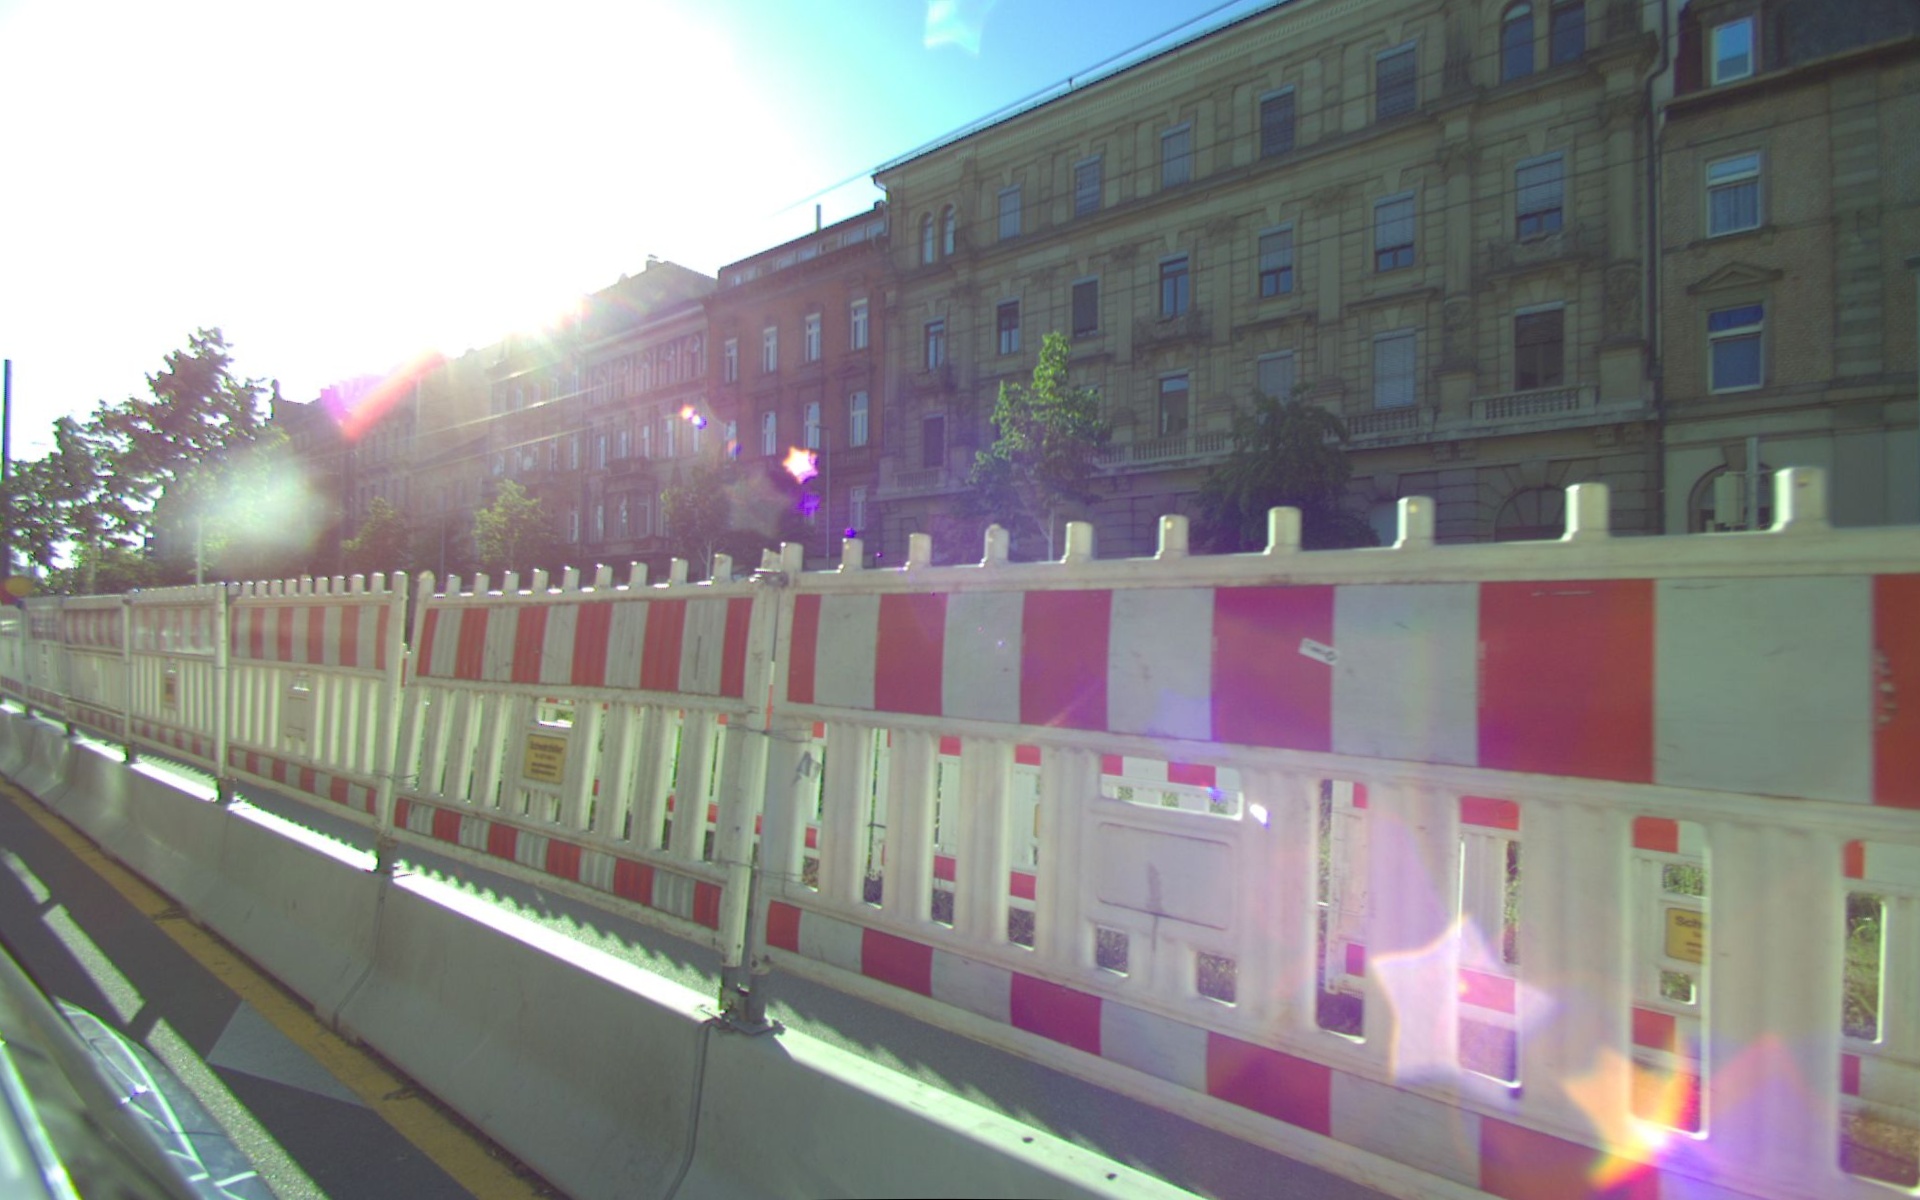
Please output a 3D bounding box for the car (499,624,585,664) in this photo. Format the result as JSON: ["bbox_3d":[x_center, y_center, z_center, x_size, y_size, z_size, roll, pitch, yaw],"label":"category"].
[{"bbox_3d":[-19.173,1.958,46.382,4.544,1.671,1.917,-1,0,43],"label":"car"}]

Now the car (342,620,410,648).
[{"bbox_3d":[-32.430,1.859,56.151,4.305,1.449,1.973,-1,0,40],"label":"car"}]

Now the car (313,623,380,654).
[{"bbox_3d":[-36.698,2.272,60.477,4.884,1.710,1.973,-1,0,40],"label":"car"}]
